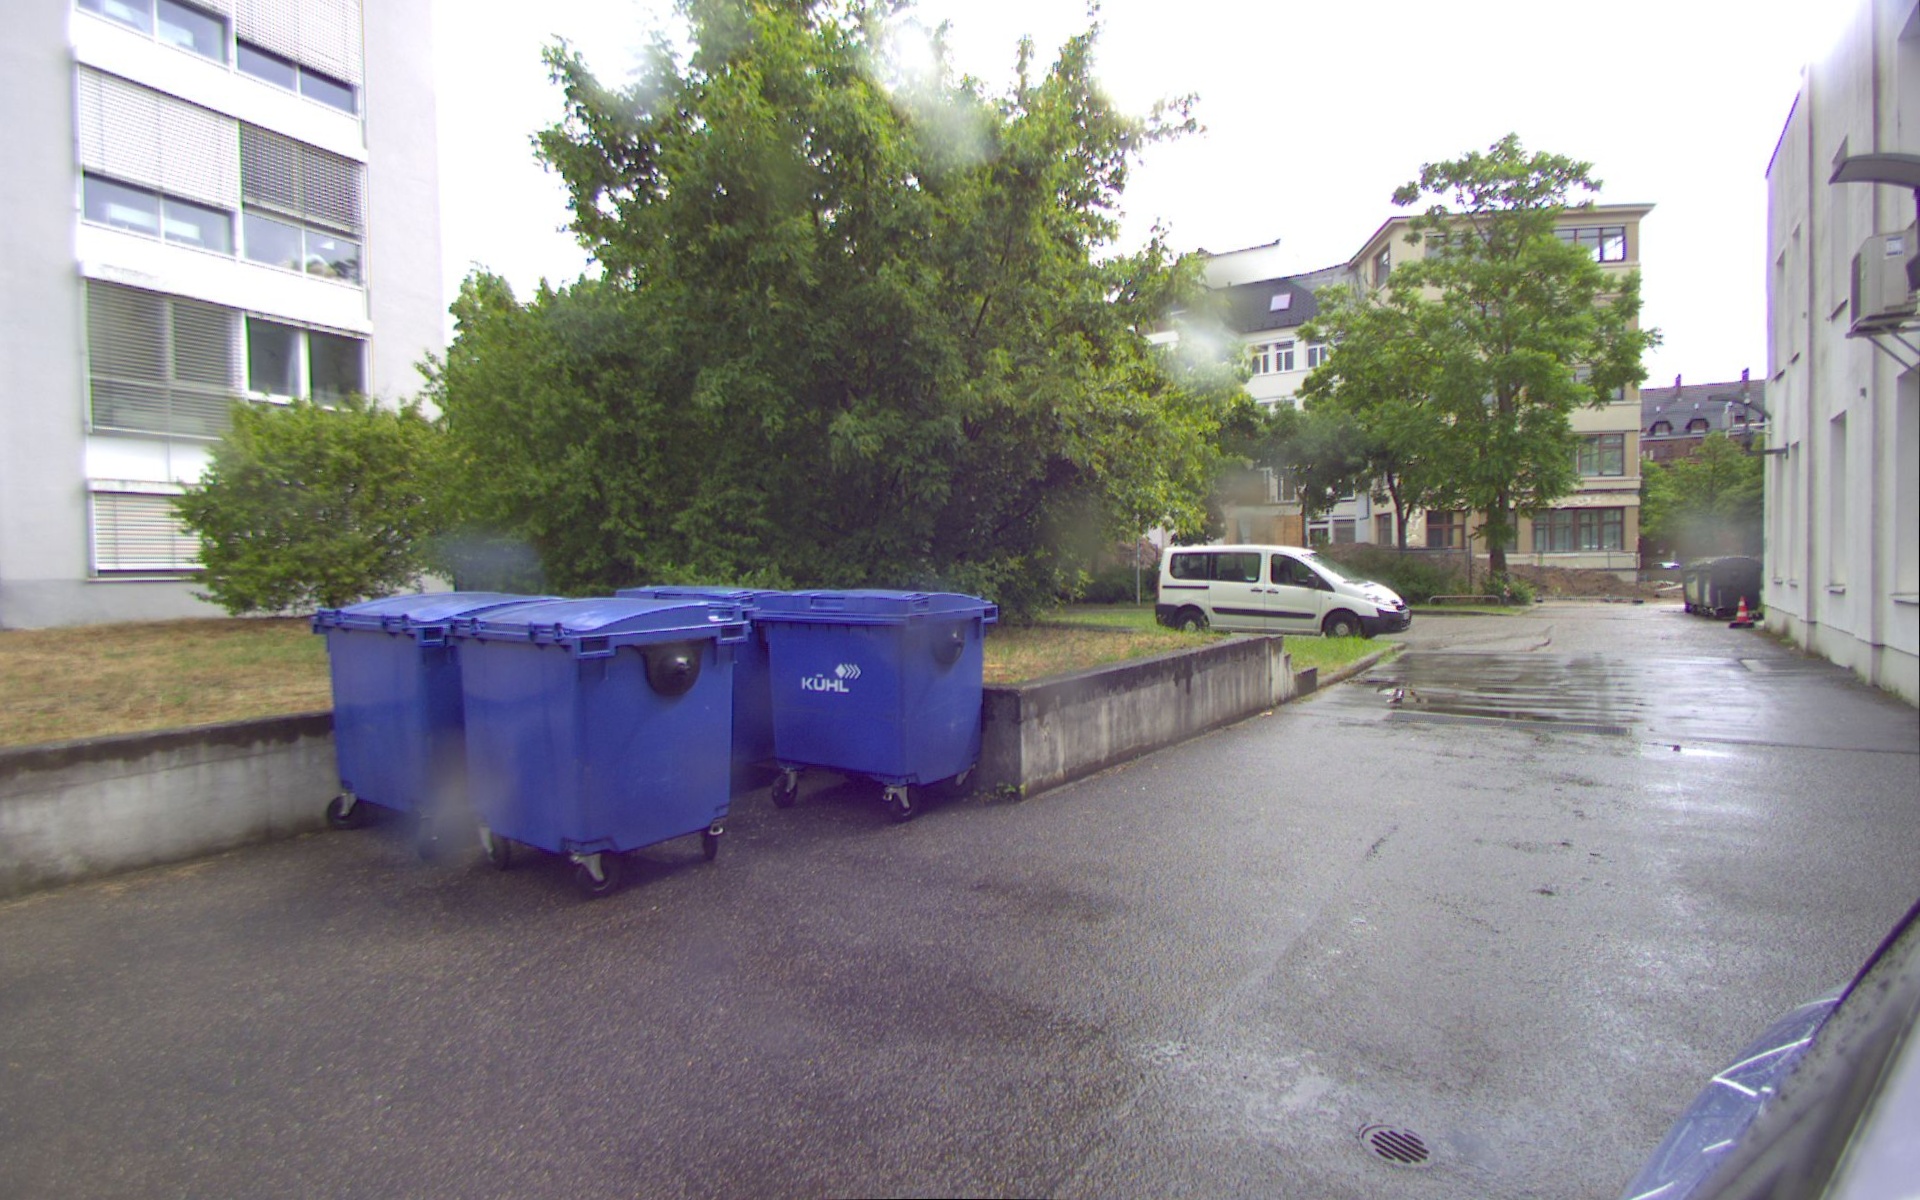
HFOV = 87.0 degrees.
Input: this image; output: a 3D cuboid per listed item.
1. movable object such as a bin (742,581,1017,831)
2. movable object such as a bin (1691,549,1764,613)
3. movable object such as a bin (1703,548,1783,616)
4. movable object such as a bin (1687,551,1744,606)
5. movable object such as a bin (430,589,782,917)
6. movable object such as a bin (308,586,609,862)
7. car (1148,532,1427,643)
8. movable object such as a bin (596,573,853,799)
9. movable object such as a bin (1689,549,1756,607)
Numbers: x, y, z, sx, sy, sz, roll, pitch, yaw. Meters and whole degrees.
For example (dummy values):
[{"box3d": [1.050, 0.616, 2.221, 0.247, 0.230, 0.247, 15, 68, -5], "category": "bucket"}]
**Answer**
[{"box3d": [-0.493, 0.563, 6.323, 1.333, 1.307, 1.082, 1, 3, 36], "category": "movable object such as a bin"}, {"box3d": [18.695, -0.496, 24.692, 1.157, 1.501, 1.483, 1, 3, 28], "category": "movable object such as a bin"}, {"box3d": [17.952, -0.437, 23.259, 1.157, 1.501, 1.579, 1, 3, 28], "category": "movable object such as a bin"}, {"box3d": [21.147, -0.606, 28.324, 1.101, 1.491, 1.463, -1, 1, 43], "category": "movable object such as a bin"}, {"box3d": [-1.764, 0.634, 5.073, 1.368, 1.320, 1.069, 1, 3, 35], "category": "movable object such as a bin"}, {"box3d": [-2.846, 0.603, 5.786, 1.181, 1.320, 1.093, 1, 3, 34], "category": "movable object such as a bin"}, {"box3d": [6.419, -0.255, 20.079, 4.858, 1.949, 2.073, -1, 2, 36], "category": "car"}, {"box3d": [-1.616, 0.503, 7.021, 1.289, 1.352, 1.182, 1, 3, 35], "category": "movable object such as a bin"}, {"box3d": [20.346, -0.572, 27.038, 1.157, 1.502, 1.390, -1, 0, 27], "category": "movable object such as a bin"}]
